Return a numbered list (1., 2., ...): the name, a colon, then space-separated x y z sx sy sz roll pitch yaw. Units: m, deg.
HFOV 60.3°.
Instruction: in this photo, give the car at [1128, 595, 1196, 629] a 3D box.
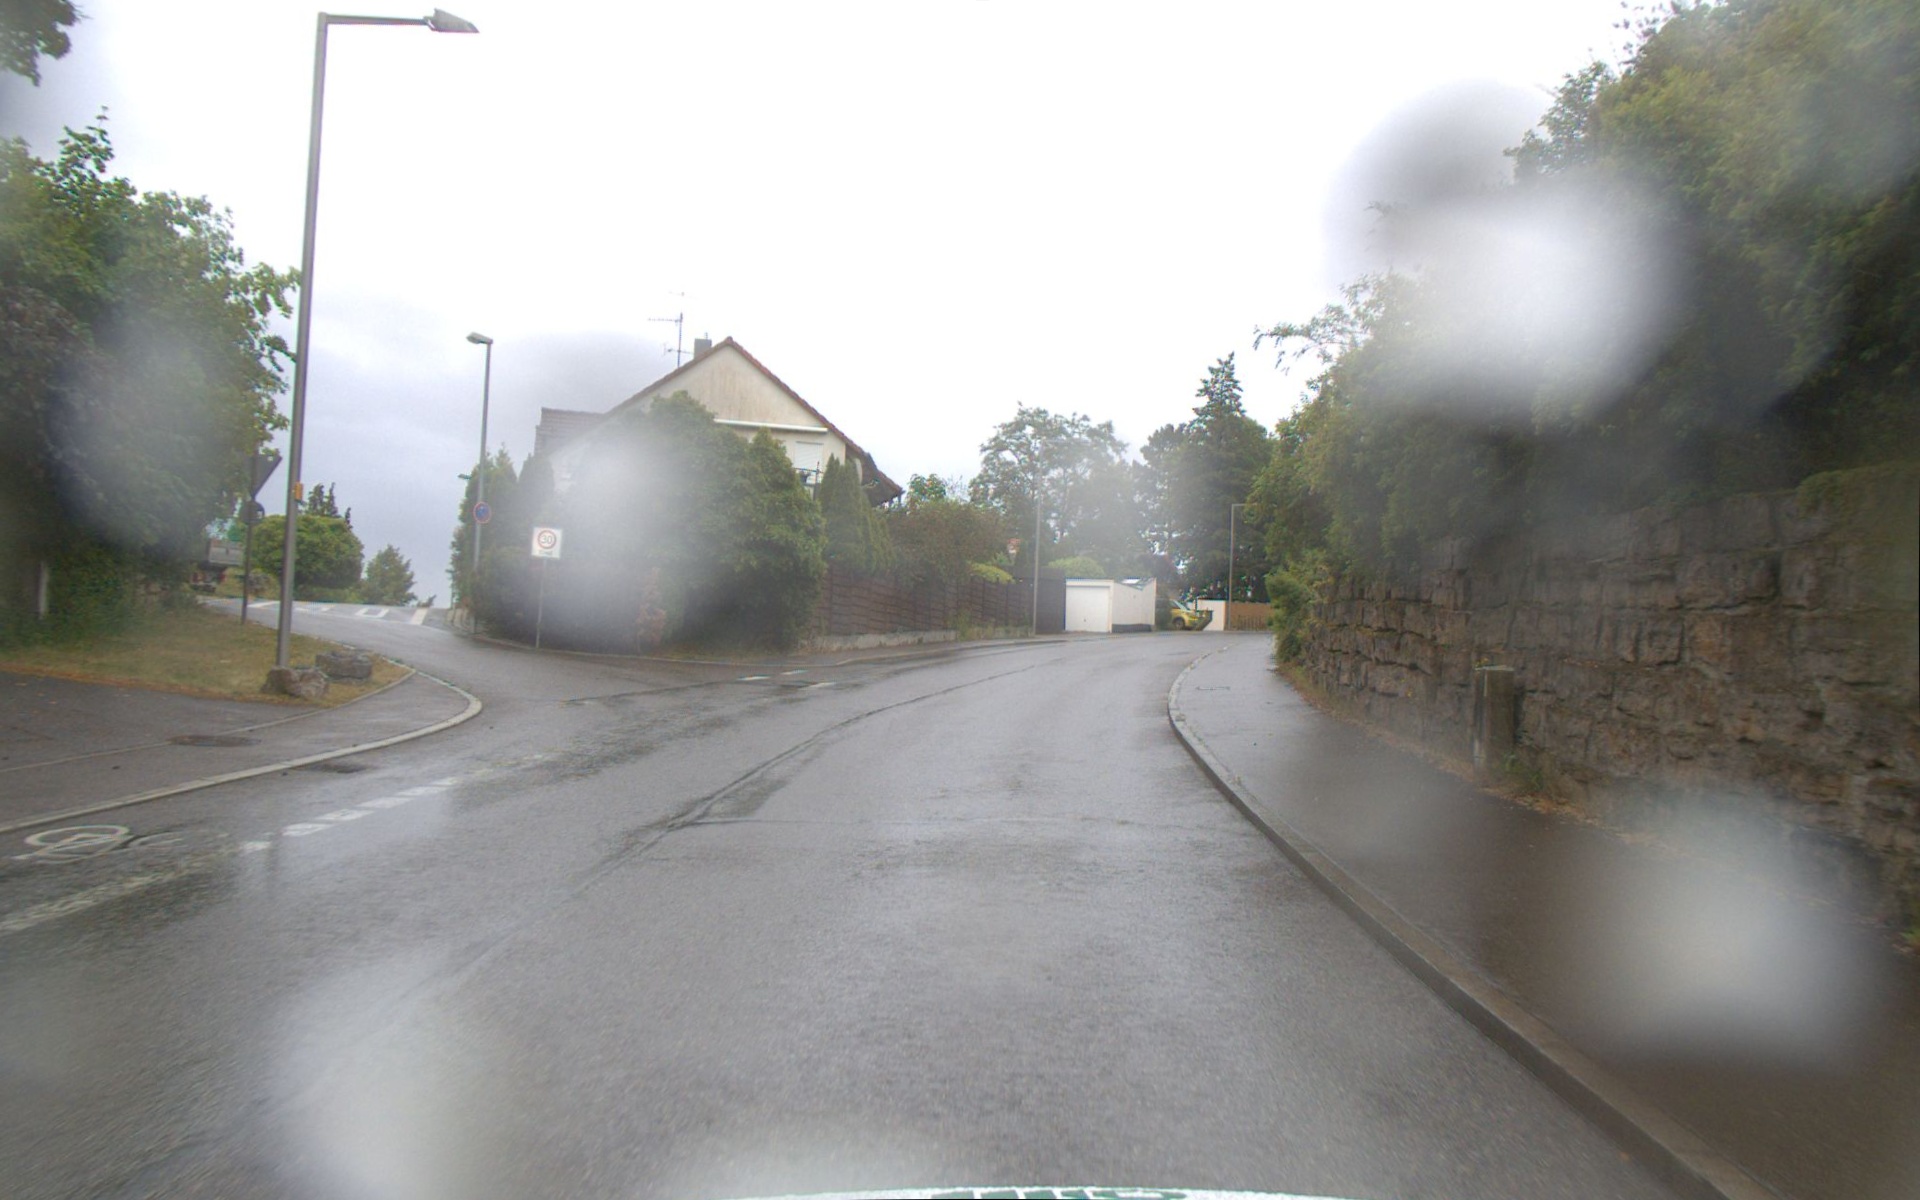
1. car: 12.326 0.713 100.855 3.757 1.940 1.535 2 0 26
